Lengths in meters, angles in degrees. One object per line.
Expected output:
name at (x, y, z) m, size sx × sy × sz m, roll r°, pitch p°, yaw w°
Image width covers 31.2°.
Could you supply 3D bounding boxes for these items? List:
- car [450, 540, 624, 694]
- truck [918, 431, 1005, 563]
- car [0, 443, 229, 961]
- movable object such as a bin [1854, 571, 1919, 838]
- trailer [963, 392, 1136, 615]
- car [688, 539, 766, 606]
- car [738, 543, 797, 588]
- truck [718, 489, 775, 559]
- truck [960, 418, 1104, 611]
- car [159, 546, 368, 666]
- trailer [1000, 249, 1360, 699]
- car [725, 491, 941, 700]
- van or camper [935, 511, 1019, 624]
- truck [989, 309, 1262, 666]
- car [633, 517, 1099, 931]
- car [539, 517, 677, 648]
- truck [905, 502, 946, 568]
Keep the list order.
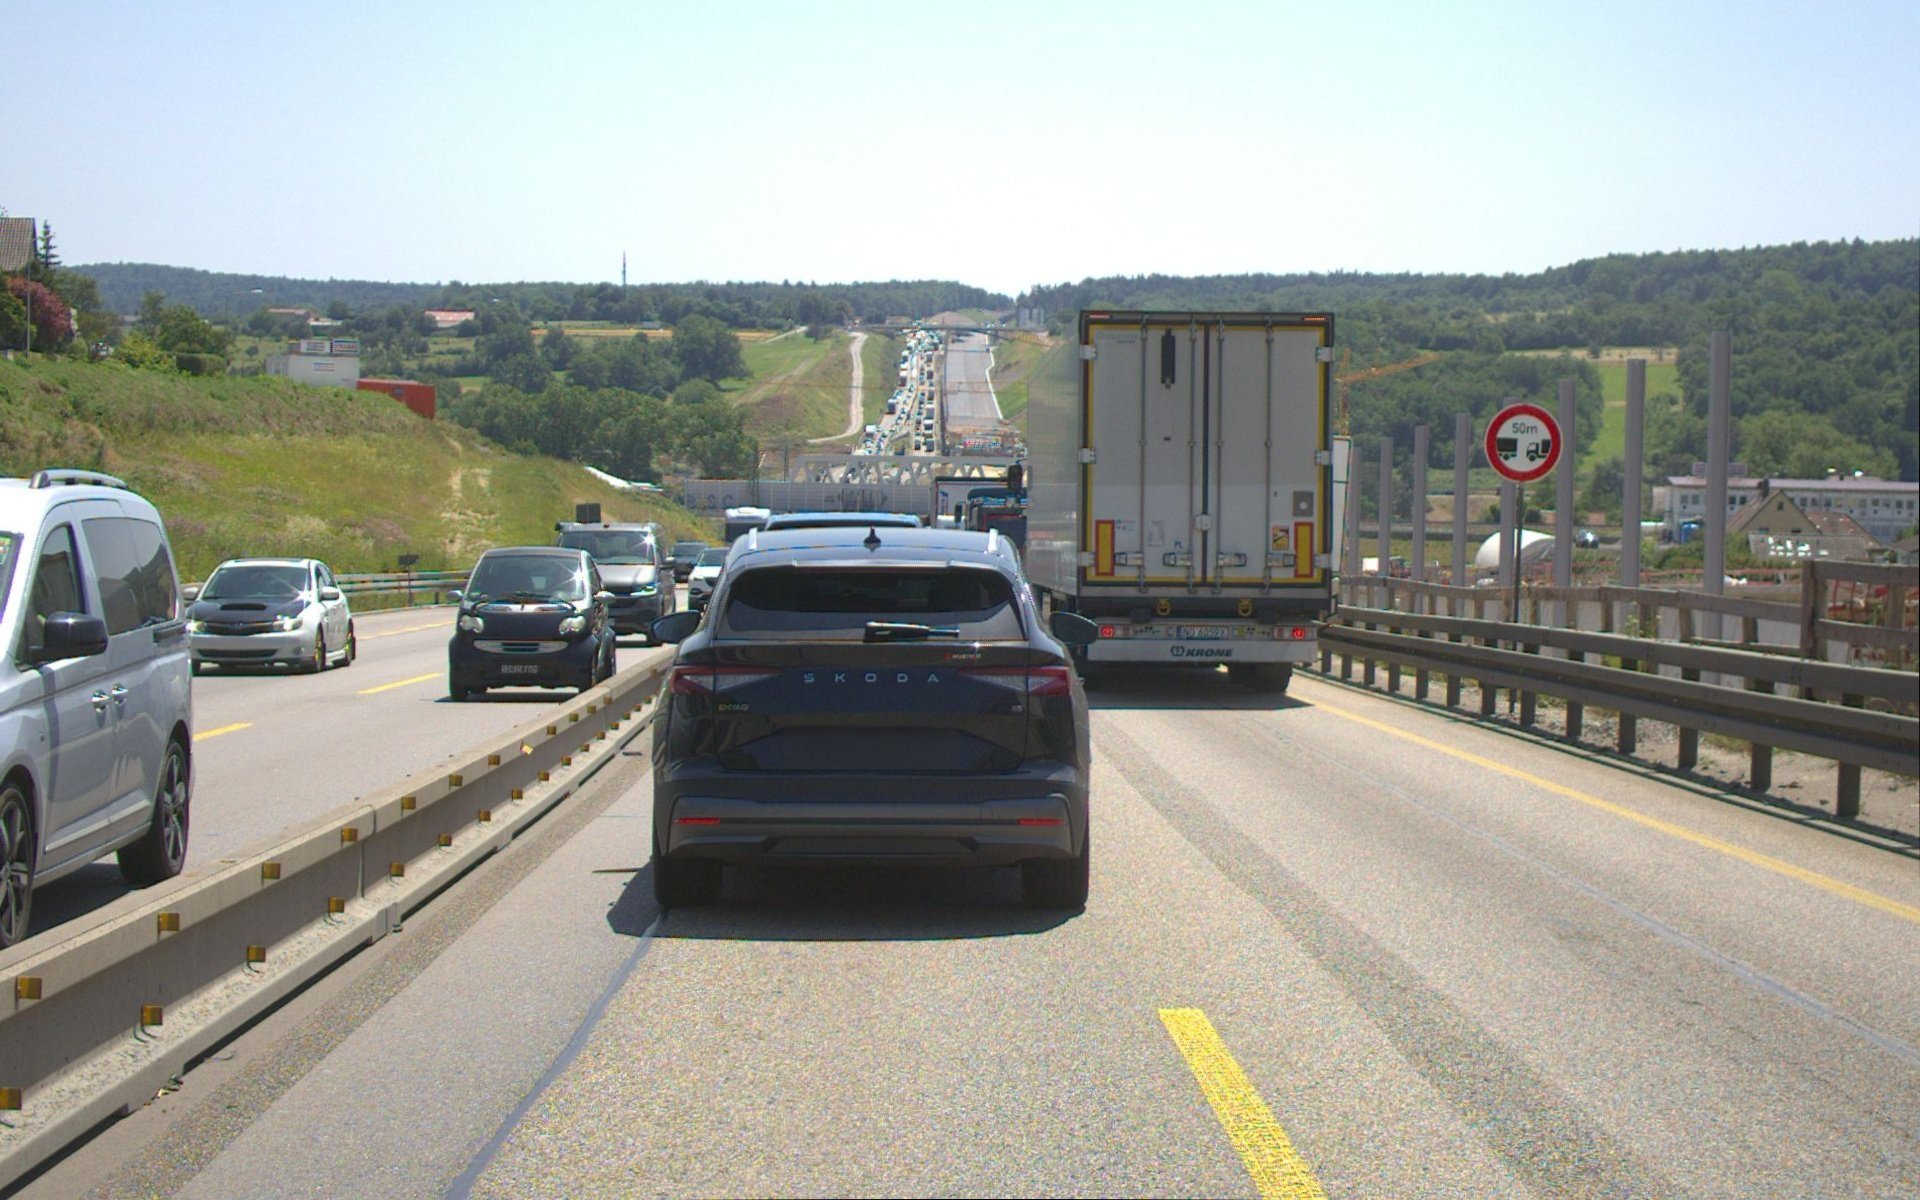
car at (-4.289, 0.149, 35.127) m, size 1.483 × 1.500 × 2.805 m, roll 0°, pitch 1°, yaw -1°
truck at (-0.031, -3.718, 127.499) m, size 2.852 × 4.450 × 11.918 m, roll 0°, pitch 0°, yaw -2°
car at (-4.343, 0.325, 13.900) m, size 1.837 × 1.821 × 5.041 m, roll 0°, pitch 1°, yaw -2°
movable object such as a bin at (18.628, 1.851, 60.130) m, size 3.227 × 4.727 × 9.656 m, roll 0°, pitch 0°, yaw -1°
trailer at (1.830, -1.935, 77.390) m, size 3.180 × 4.498 × 14.967 m, roll 0°, pitch 0°, yaw -1°
car at (-5.796, -0.709, 85.943) m, size 1.806 × 1.634 × 4.172 m, roll 0°, pitch 1°, yaw -2°
car at (-6.382, -1.151, 114.508) m, size 1.798 × 1.461 × 4.356 m, roll -1°, pitch 1°, yaw -1°
truck at (-11.281, -4.020, 182.409) m, size 2.779 × 3.660 × 6.278 m, roll 0°, pitch 1°, yaw -2°
truck at (1.690, -1.987, 84.552) m, size 3.180 × 4.498 × 8.166 m, roll 0°, pitch 0°, yaw -1°
car at (-8.824, 0.039, 43.898) m, size 1.809 × 1.426 × 4.556 m, roll 1°, pitch 1°, yaw -1°
trailer at (2.286, -1.400, 41.089) m, size 3.180 × 4.497 × 13.109 m, roll 0°, pitch 1°, yaw -1°
car at (-1.230, -0.030, 34.177) m, size 1.993 × 1.919 × 4.508 m, roll 0°, pitch 0°, yaw -1°
van or camper at (0.541, -0.915, 102.281) m, size 2.389 × 3.269 × 6.468 m, roll 0°, pitch 0°, yaw 1°
truck at (2.129, -1.506, 47.564) m, size 3.180 × 4.497 × 8.166 m, roll 0°, pitch 1°, yaw -1°
car at (-0.382, 0.471, 15.386) m, size 1.802 × 1.602 × 4.000 m, roll 0°, pitch 0°, yaw 0°
car at (-5.636, -0.299, 55.520) m, size 1.910 × 2.007 × 4.907 m, roll 0°, pitch 1°, yaw -2°
truck at (-2.321, -4.286, 228.706) m, size 2.639 × 4.179 × 9.284 m, roll 0°, pitch 0°, yaw -1°
